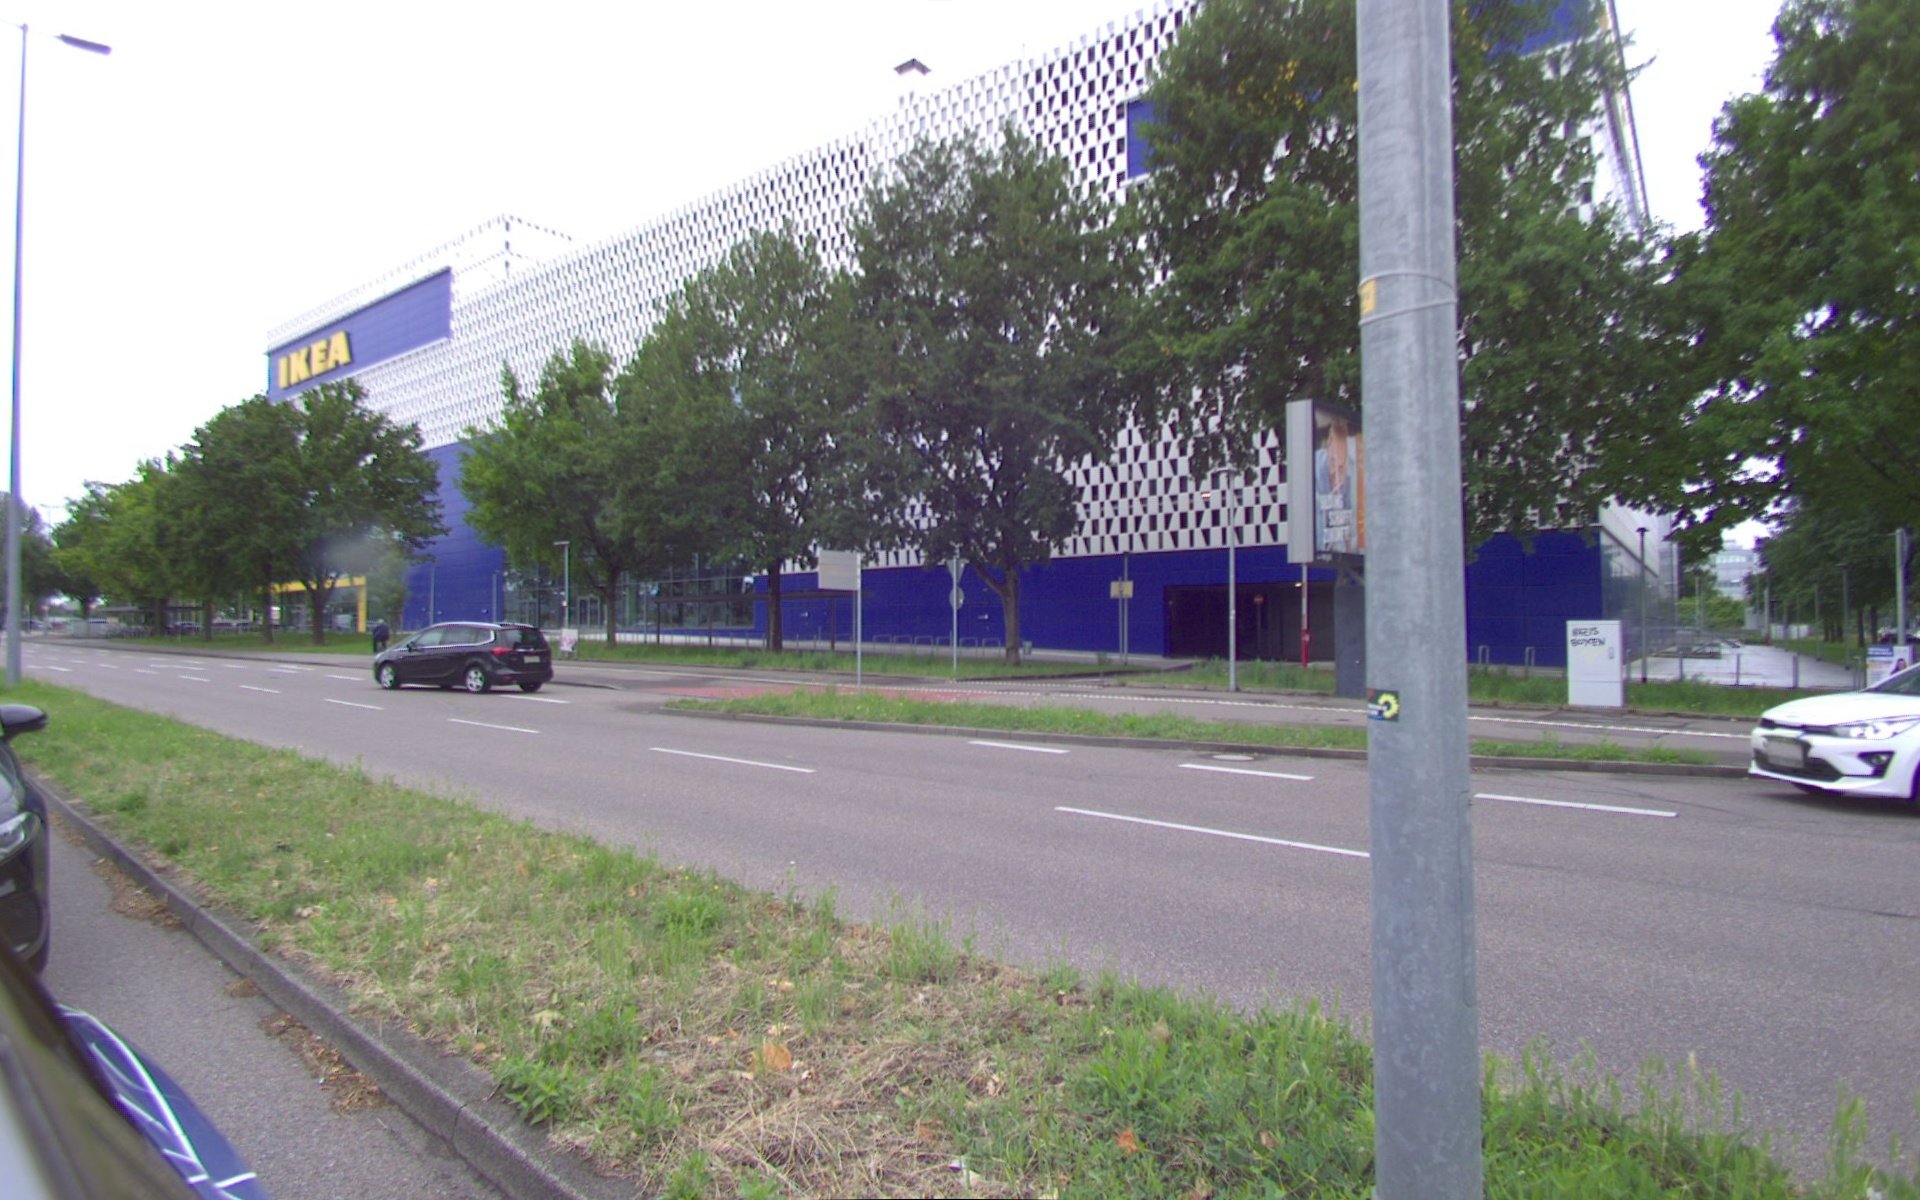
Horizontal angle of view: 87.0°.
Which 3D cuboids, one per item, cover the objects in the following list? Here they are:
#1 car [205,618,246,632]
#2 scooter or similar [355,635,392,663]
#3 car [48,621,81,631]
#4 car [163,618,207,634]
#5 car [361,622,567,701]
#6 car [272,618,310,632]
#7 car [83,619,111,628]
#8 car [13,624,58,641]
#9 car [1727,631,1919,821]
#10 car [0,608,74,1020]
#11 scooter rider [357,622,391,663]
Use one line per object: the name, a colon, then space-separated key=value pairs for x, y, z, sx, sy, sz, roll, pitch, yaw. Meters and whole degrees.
car: x=-97.551 y=3.326 z=134.405 sx=1.994 sy=1.829 sz=3.956 roll=-1 pitch=0 yaw=33
scooter or similar: x=-24.946 y=2.065 z=43.046 sx=1.417 sy=1.134 sz=0.585 roll=-1 pitch=2 yaw=24
car: x=-161.077 y=4.662 z=181.992 sx=1.741 sy=1.837 sz=4.239 roll=-1 pitch=0 yaw=37
car: x=-86.314 y=2.842 z=112.755 sx=1.741 sy=1.652 sz=3.522 roll=-1 pitch=0 yaw=37
car: x=-11.722 y=1.424 z=23.950 sx=4.328 sy=1.668 sz=1.836 roll=0 pitch=-3 yaw=20
car: x=-93.268 y=3.479 z=141.073 sx=1.994 sy=1.829 sz=3.956 roll=-1 pitch=0 yaw=33
car: x=-158.339 y=4.271 z=185.675 sx=1.741 sy=1.652 sz=3.522 roll=-1 pitch=0 yaw=37
car: x=-118.486 y=4.094 z=129.727 sx=1.998 sy=2.029 sz=3.948 roll=-1 pitch=0 yaw=38
car: x=9.139 y=1.016 z=8.484 sx=3.886 sy=1.463 sz=1.783 roll=0 pitch=-2 yaw=7
car: x=-5.434 y=0.823 z=4.407 sx=4.194 sy=1.445 sz=1.835 roll=-2 pitch=-1 yaw=41
scooter rider: x=-24.923 y=1.793 z=43.058 sx=1.033 sy=1.733 sz=0.791 roll=-1 pitch=-1 yaw=24
